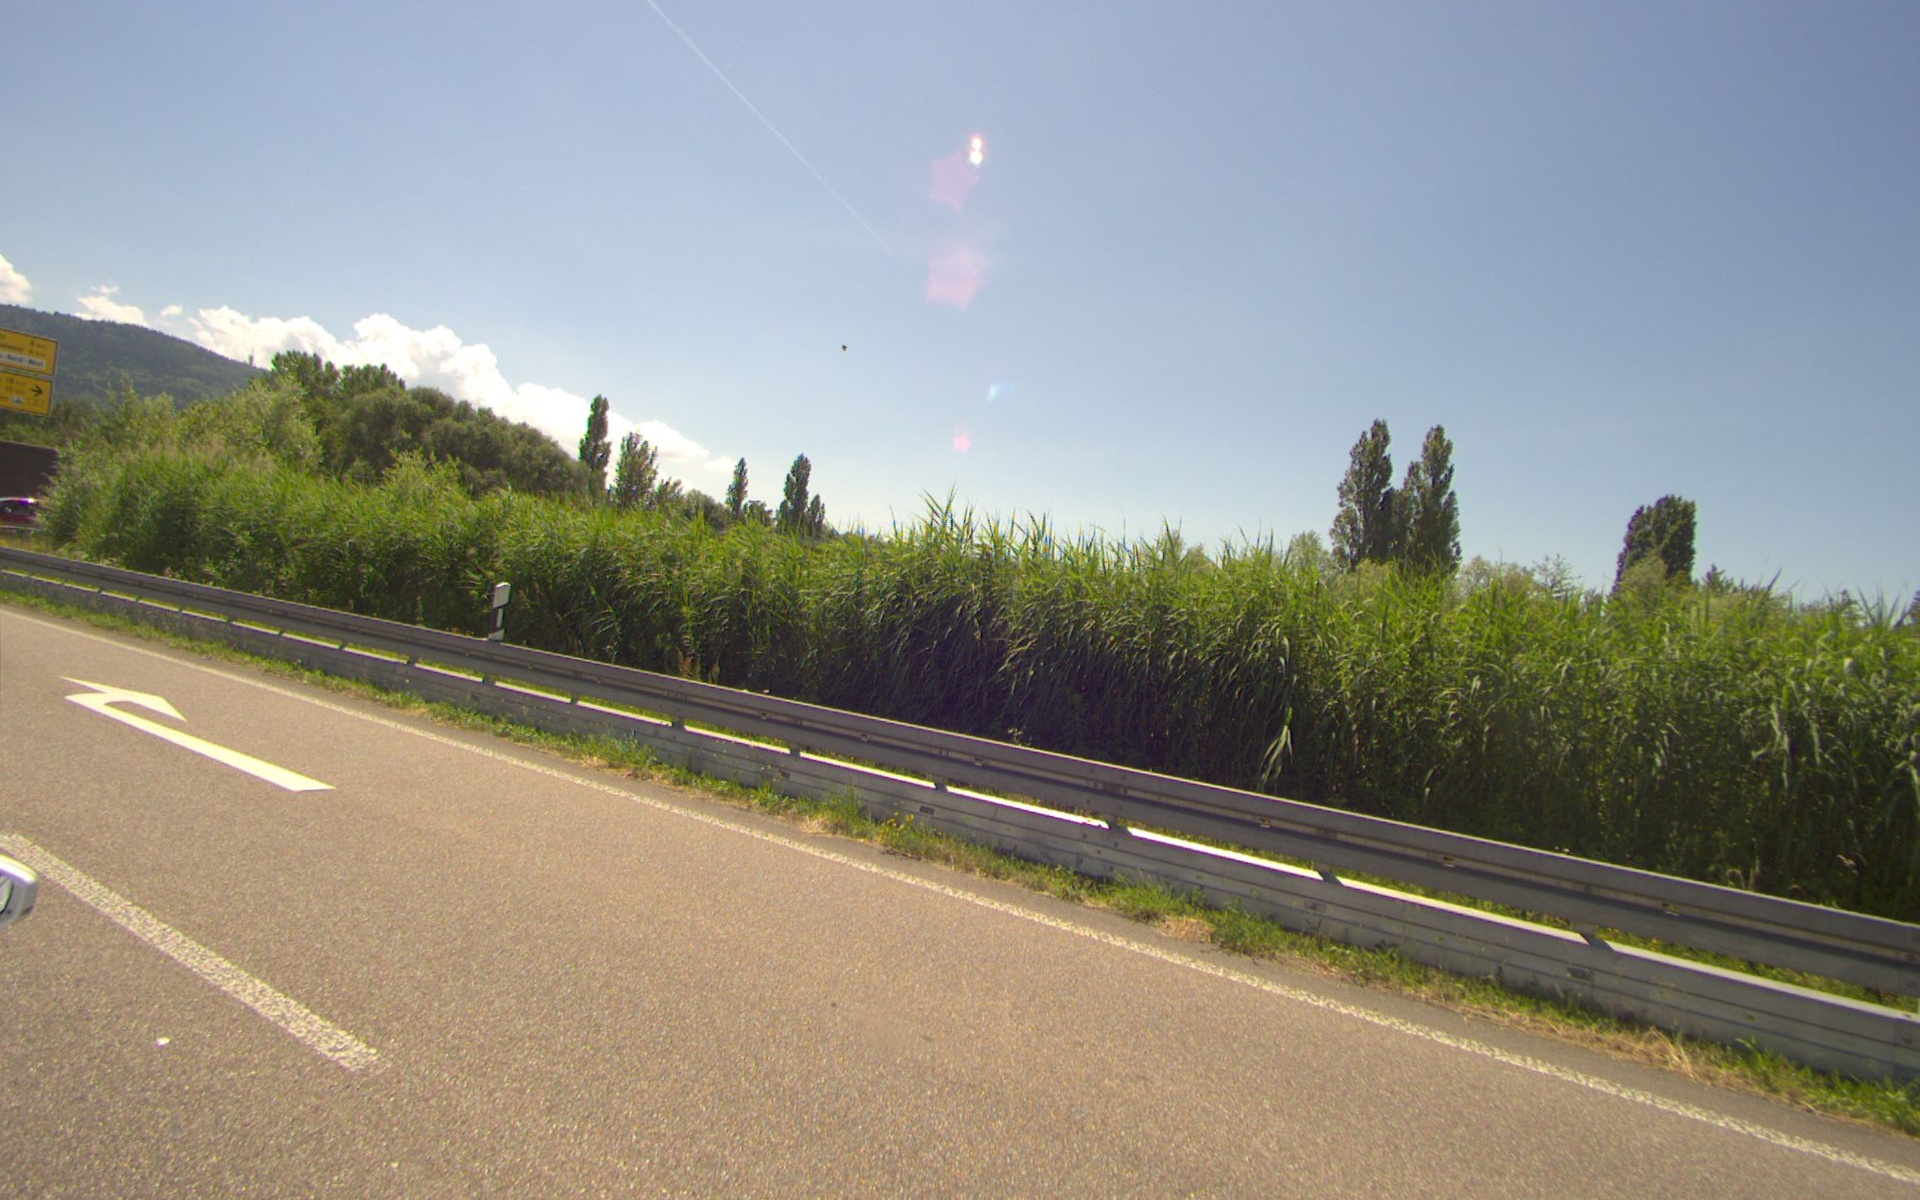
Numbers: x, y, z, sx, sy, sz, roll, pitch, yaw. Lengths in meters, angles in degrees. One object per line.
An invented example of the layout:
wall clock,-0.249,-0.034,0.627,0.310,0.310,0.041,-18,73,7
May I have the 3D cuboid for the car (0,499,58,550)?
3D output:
car,-36.353,-3.013,36.916,1.966,1.676,4.320,7,-2,28
